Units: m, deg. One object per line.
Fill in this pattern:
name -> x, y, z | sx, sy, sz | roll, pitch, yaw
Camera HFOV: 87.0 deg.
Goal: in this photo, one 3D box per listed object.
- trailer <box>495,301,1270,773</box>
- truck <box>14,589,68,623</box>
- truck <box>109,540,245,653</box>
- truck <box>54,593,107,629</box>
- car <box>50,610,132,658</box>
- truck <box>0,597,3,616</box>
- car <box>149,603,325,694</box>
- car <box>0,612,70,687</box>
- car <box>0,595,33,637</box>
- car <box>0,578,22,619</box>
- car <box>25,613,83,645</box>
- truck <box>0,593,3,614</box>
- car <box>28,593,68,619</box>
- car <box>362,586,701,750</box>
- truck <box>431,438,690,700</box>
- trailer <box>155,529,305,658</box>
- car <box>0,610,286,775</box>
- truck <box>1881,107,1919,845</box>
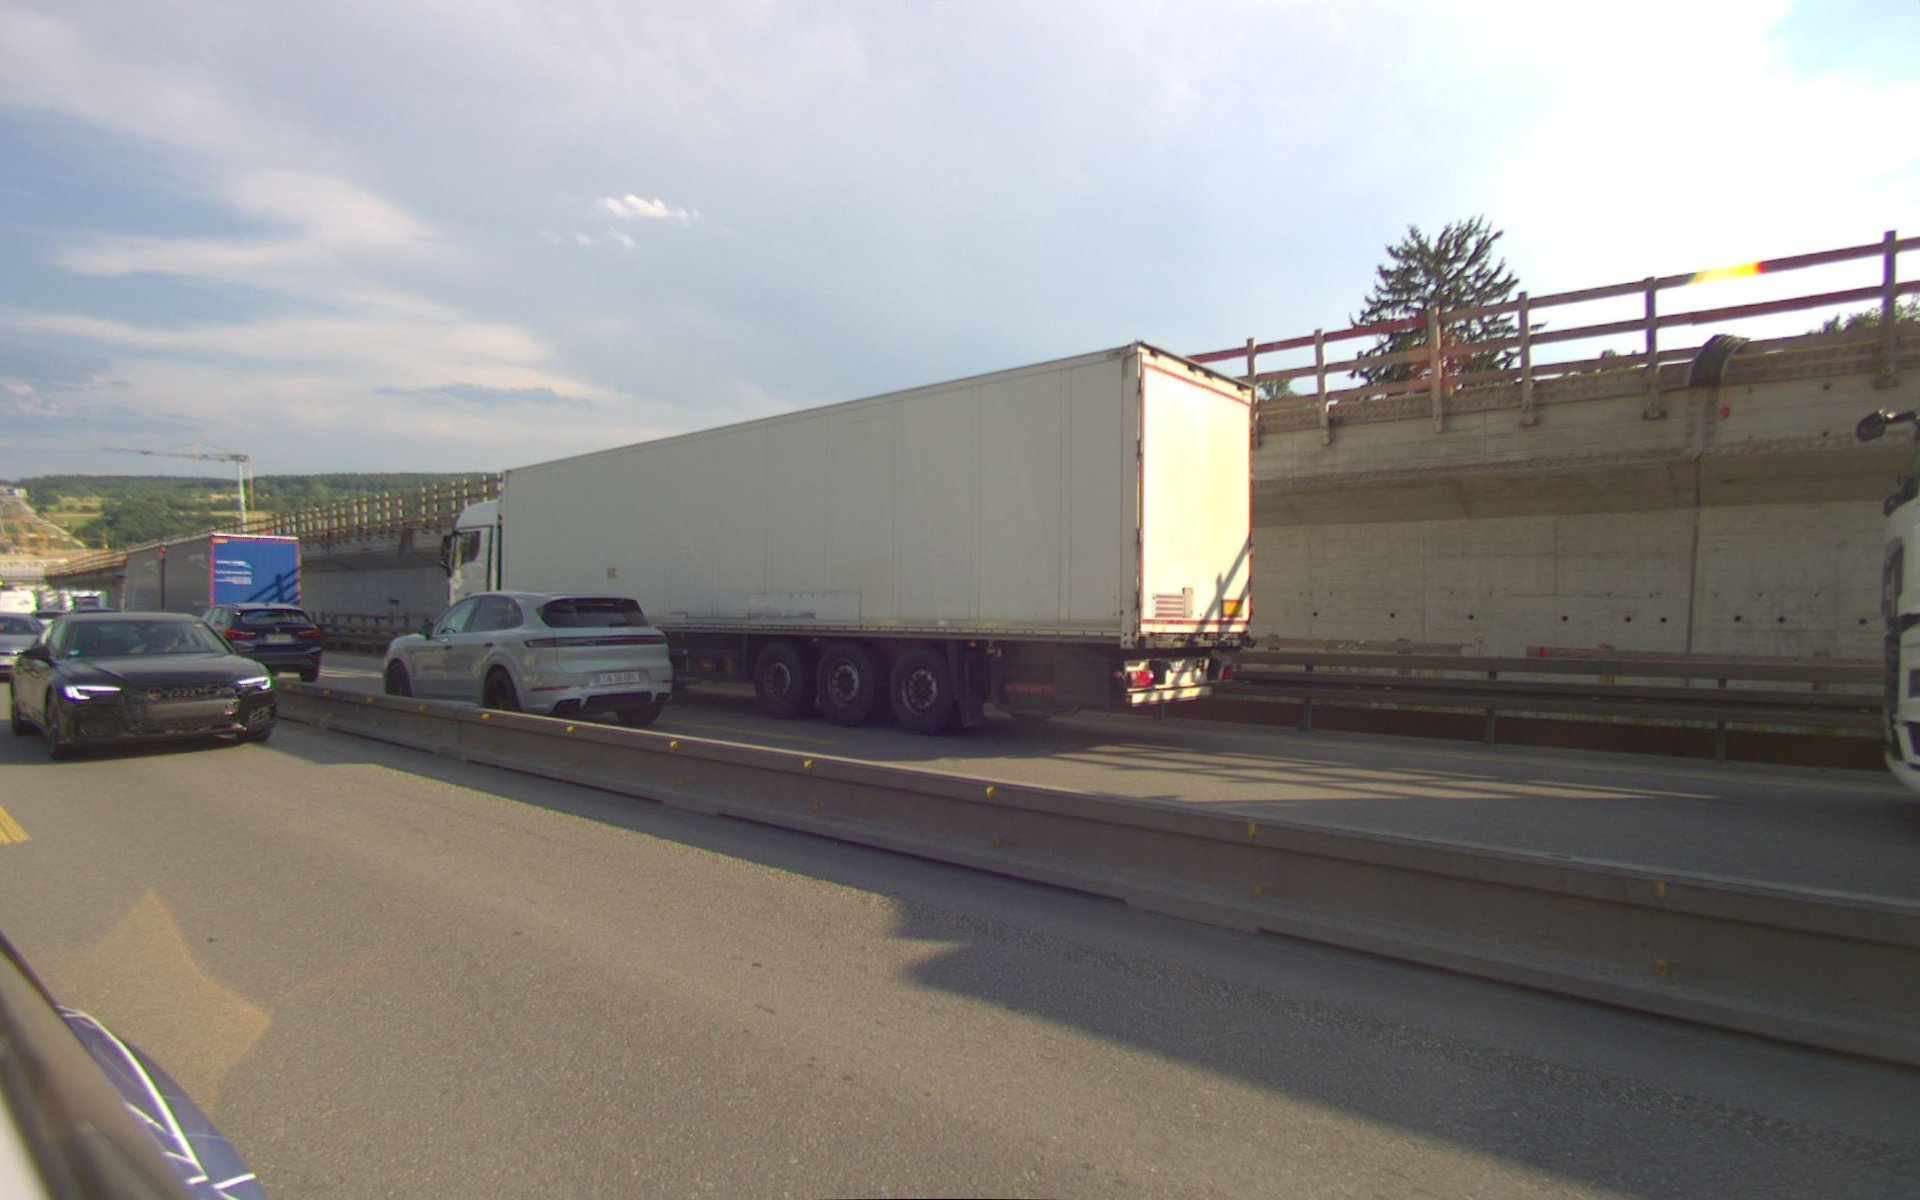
trailer -> -2.524, -0.530, 14.817 | 13.770, 4.353, 2.430 | -1, -1, 42
truck -> -87.367, 0.603, 96.207 | 6.488, 3.169, 3.200 | -1, -1, 42
truck -> -33.307, -0.085, 42.840 | 10.580, 4.290, 2.785 | -1, -1, 43
truck -> -62.378, 0.786, 71.736 | 6.065, 2.318, 2.249 | -1, 2, 44
car -> -30.542, 1.137, 35.519 | 4.369, 1.588, 1.681 | -1, -1, 43
truck -> -165.170, 1.064, 172.945 | 5.764, 3.196, 1.972 | -1, -1, 43
car -> -15.077, 0.898, 21.012 | 4.728, 1.618, 1.861 | 0, 2, 41
car -> -20.696, 1.017, 21.648 | 4.113, 1.498, 1.788 | -1, -2, 38
car -> -61.825, 1.046, 65.717 | 5.614, 2.636, 1.974 | -1, -2, 43
car -> -130.114, -0.128, 137.566 | 14.305, 5.428, 3.281 | -1, -1, 45
car -> -44.510, 1.408, 49.681 | 4.592, 1.451, 1.723 | -1, 1, 43
truck -> -147.335, 0.557, 154.175 | 5.764, 3.196, 1.972 | -1, -1, 43
car -> -77.579, 0.540, 86.045 | 3.974, 2.037, 2.185 | -1, 2, 44
car -> -5.629, 0.707, 12.953 | 4.971, 1.667, 1.987 | 0, 2, 41
truck -> -7.820, -0.481, 19.521 | 5.471, 4.349, 2.429 | -1, -1, 42
trailer -> -26.399, -0.174, 36.402 | 8.286, 4.136, 2.785 | -1, -1, 43
car -> -9.611, 0.888, 11.667 | 5.222, 1.491, 1.919 | -1, -2, 43
truck -> 8.656, -0.702, 4.843 | 6.110, 4.235, 2.736 | -1, -1, 40
